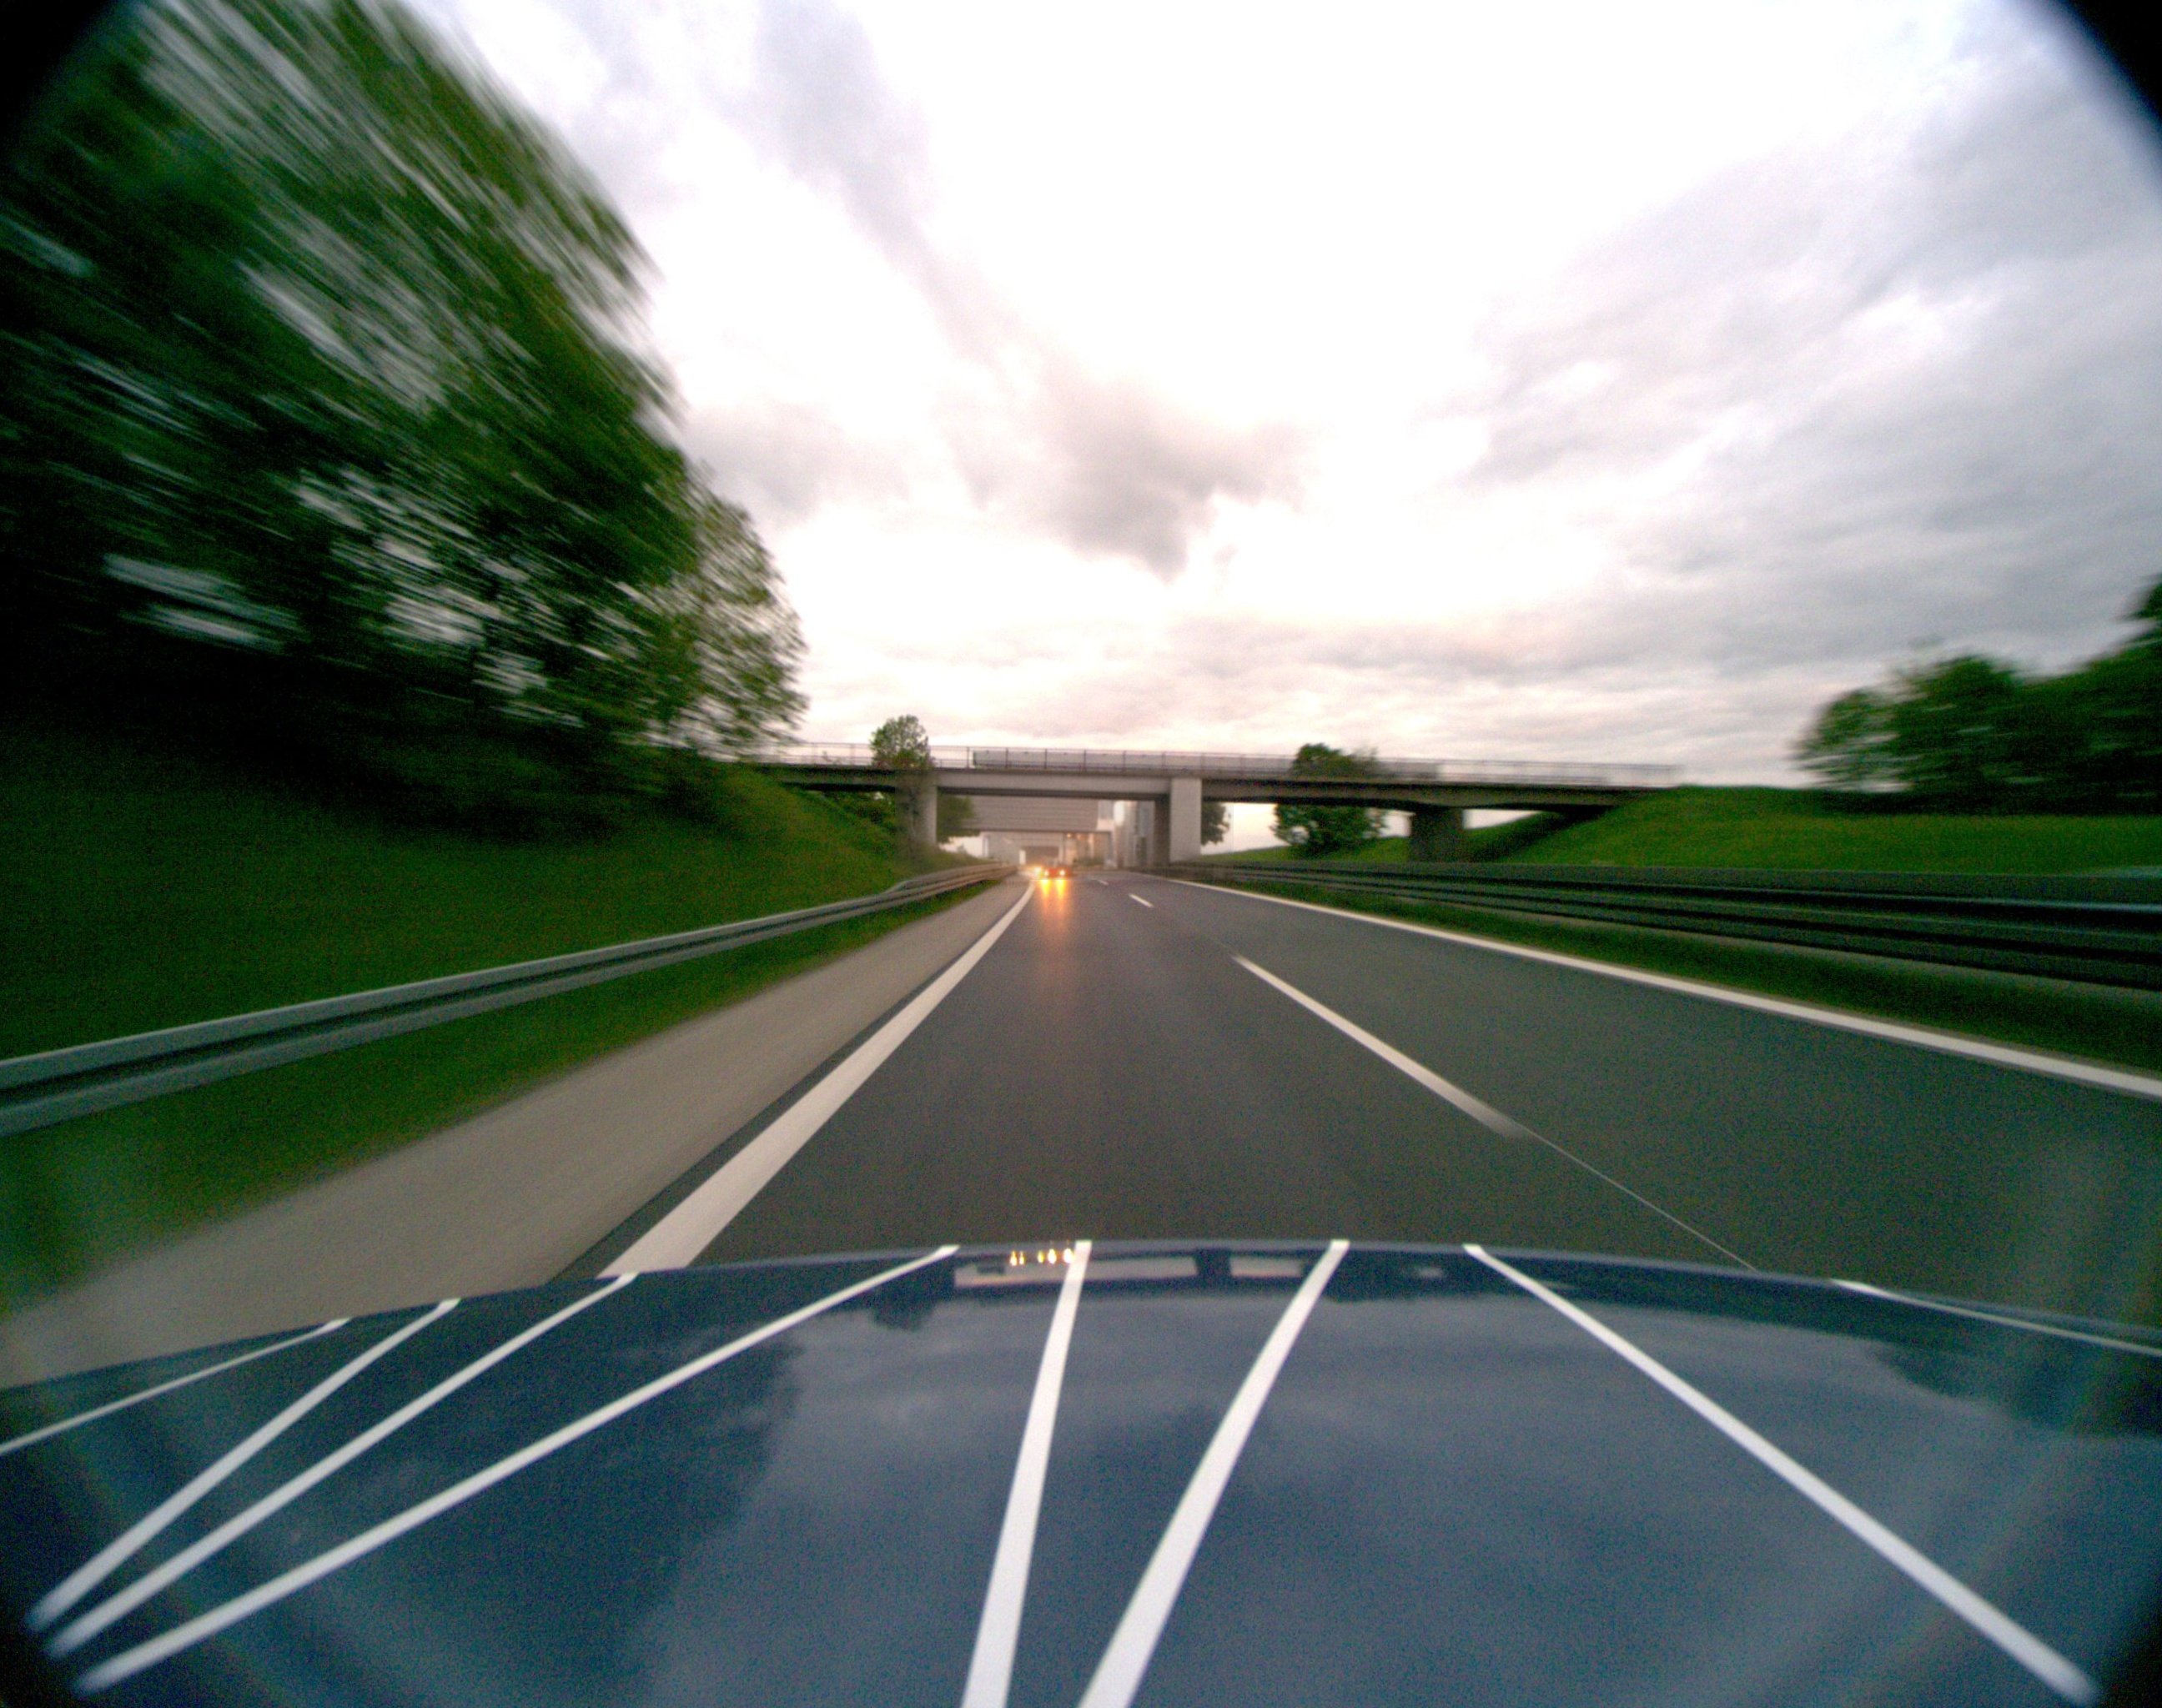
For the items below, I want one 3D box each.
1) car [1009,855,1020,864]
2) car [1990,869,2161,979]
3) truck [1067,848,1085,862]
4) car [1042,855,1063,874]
[{"bbox_3d":[-13.396,1.153,153.529,1.921,1.827,3.997,1,-1,-9],"label":"car"},{"bbox_3d":[15.437,0.962,9.802,1.802,1.433,4.678,0,0,0],"label":"car"},{"bbox_3d":[-1.140,0.169,168.941,2.621,3.091,6.662,-2,0,-11],"label":"truck"},{"bbox_3d":[-2.445,0.880,65.289,1.682,1.504,3.998,0,0,-4],"label":"car"}]
